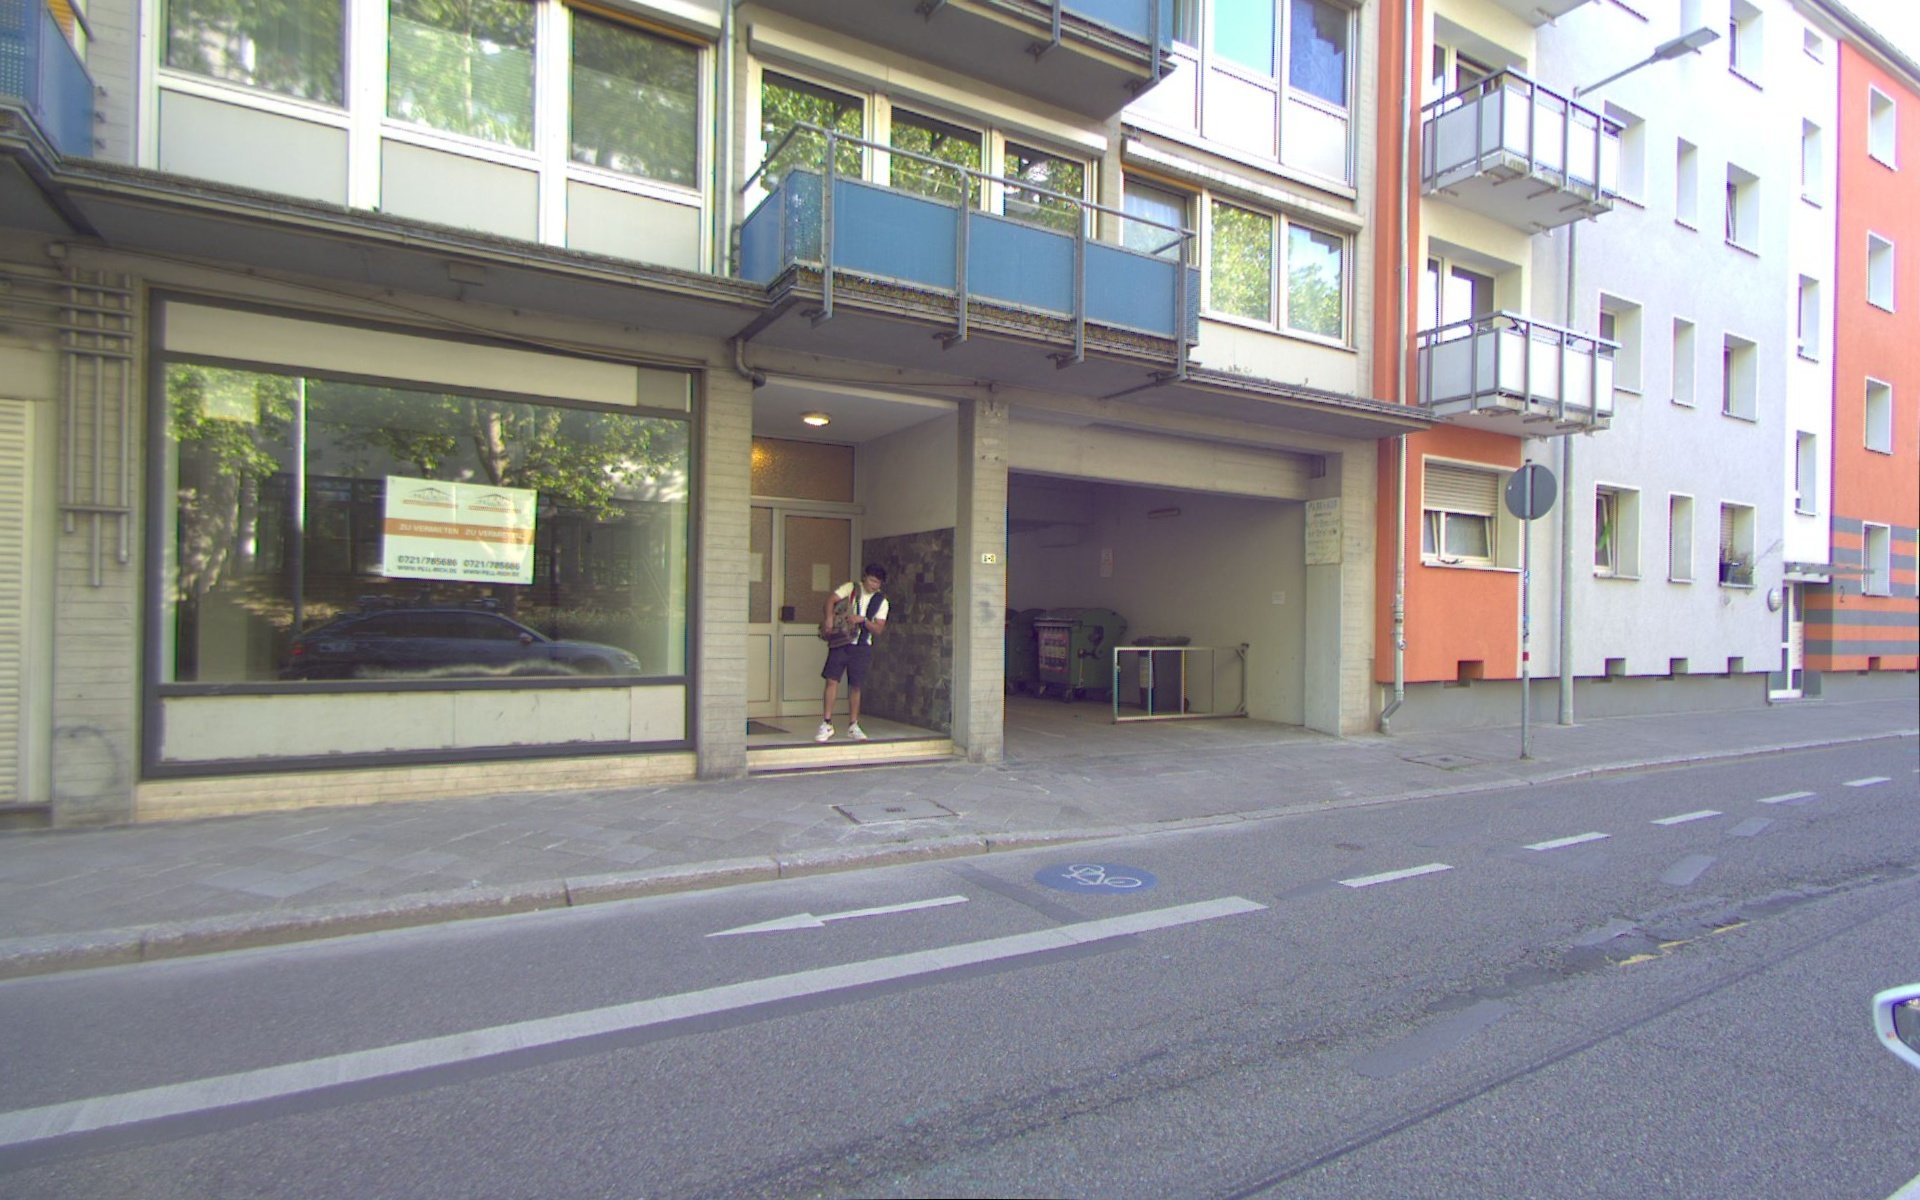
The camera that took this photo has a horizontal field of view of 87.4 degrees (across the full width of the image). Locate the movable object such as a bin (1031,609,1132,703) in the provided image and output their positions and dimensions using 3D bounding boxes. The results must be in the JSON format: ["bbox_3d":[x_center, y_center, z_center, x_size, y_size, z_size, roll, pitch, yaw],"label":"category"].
[{"bbox_3d":[1.894,0.862,15.814,1.066,1.384,1.192,2,0,-27],"label":"movable object such as a bin"}]

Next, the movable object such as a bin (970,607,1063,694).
[{"bbox_3d":[0.952,0.839,17.128,1.066,1.384,1.255,2,0,-27],"label":"movable object such as a bin"}]

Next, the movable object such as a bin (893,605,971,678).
[{"bbox_3d":[-0.567,0.806,19.867,1.066,1.384,1.255,2,0,-27],"label":"movable object such as a bin"}]

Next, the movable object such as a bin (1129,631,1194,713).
[{"bbox_3d":[2.895,1.021,14.463,0.650,1.115,0.626,2,0,-27],"label":"movable object such as a bin"}]

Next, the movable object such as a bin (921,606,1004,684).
[{"bbox_3d":[0.042,0.819,18.697,1.066,1.384,1.255,2,0,-27],"label":"movable object such as a bin"}]

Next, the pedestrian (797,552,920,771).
[{"bbox_3d":[-0.943,0.547,9.257,0.882,1.902,0.703,2,0,-28],"label":"pedestrian"}]
